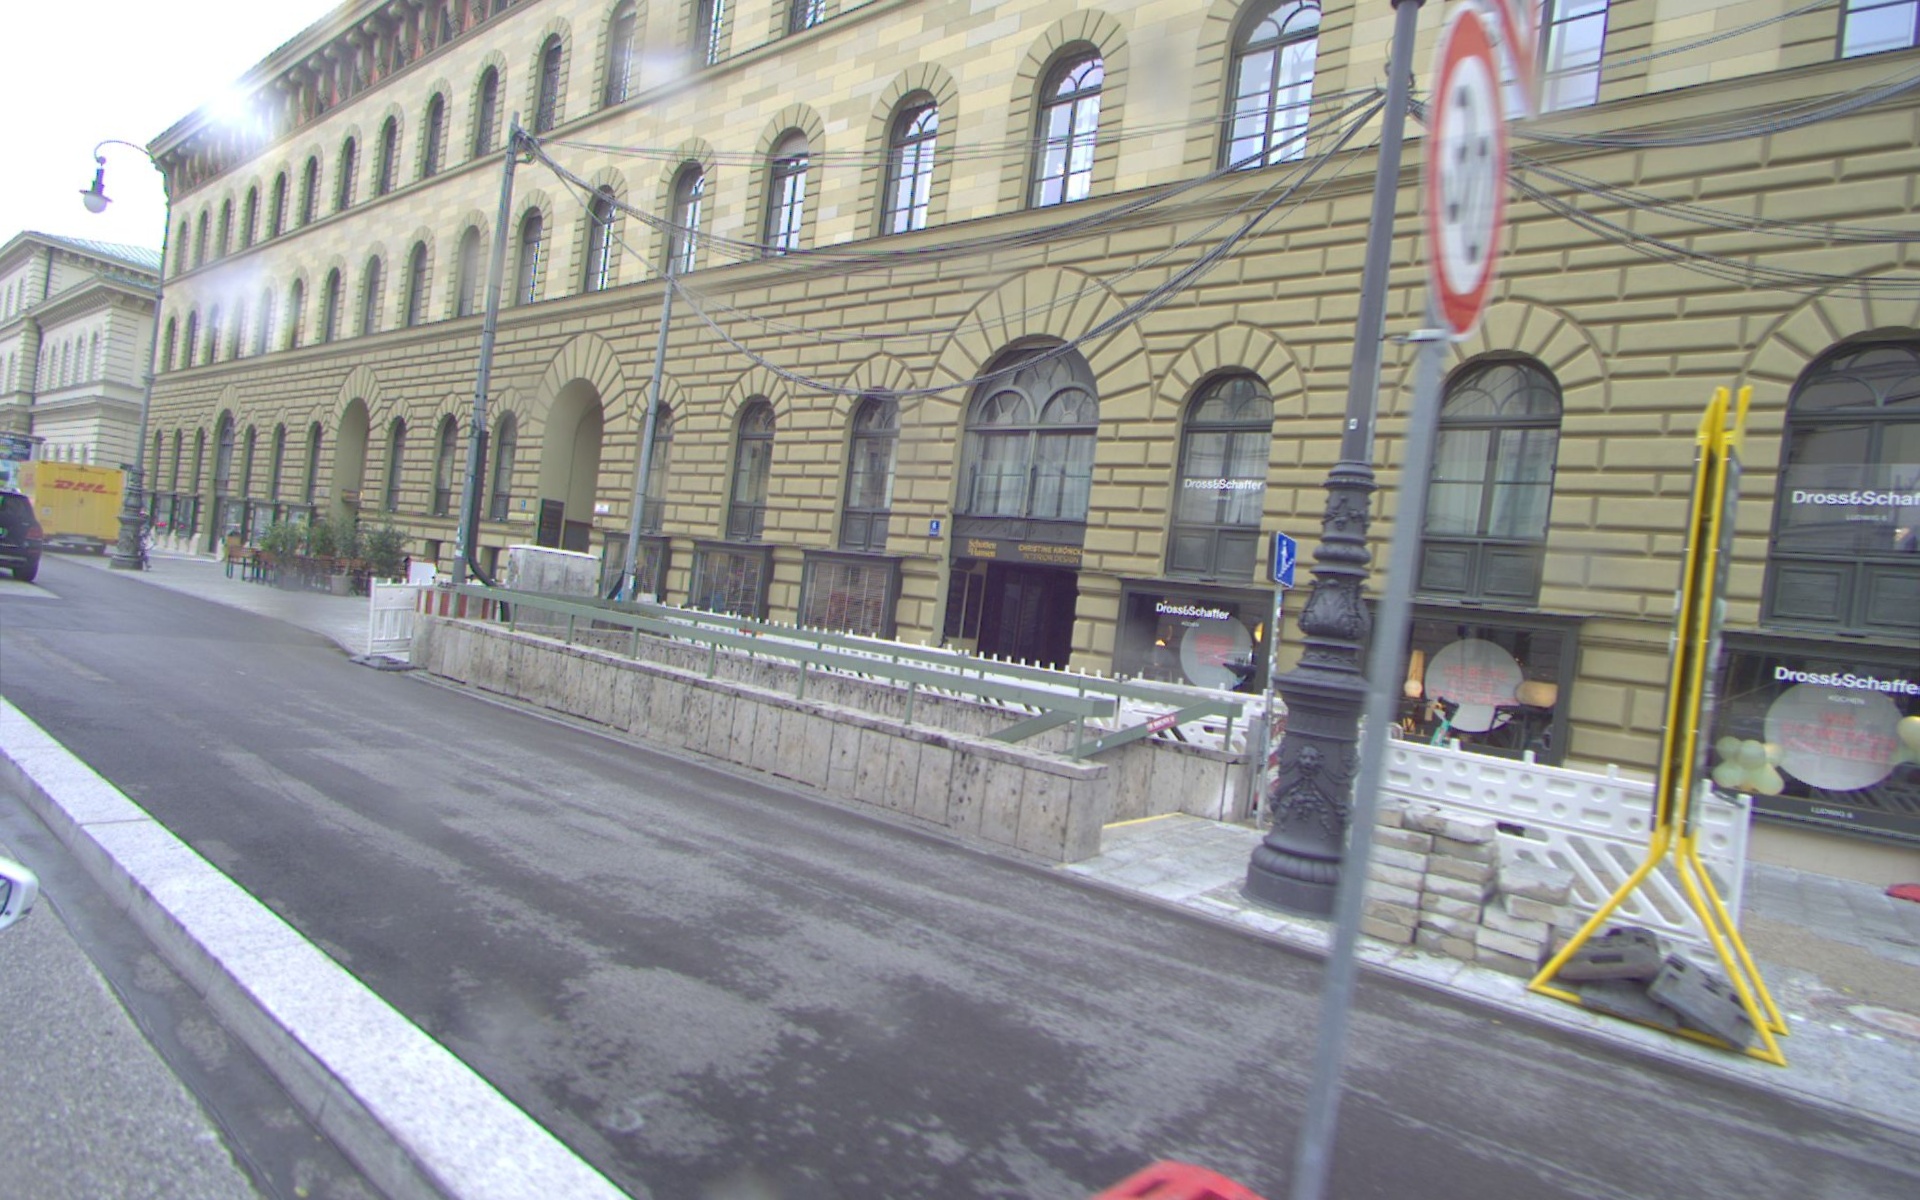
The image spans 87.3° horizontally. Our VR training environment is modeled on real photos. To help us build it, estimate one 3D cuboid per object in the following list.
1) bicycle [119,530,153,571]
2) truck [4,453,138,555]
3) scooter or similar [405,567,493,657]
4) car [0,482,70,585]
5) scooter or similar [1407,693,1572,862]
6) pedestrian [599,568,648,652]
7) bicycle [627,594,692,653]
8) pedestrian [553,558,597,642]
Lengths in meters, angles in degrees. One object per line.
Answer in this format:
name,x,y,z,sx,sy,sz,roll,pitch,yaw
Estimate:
bicycle,-22.428,-1.361,27.373,0.517,1.034,1.630,7,-1,-44
truck,-30.000,-3.171,33.872,5.729,2.797,2.618,5,-2,43
scooter or similar,-7.533,0.187,14.859,0.292,1.266,1.139,6,1,25
car,-18.480,-1.400,18.621,4.158,1.681,2.070,6,-2,36
scooter or similar,4.615,1.515,8.801,1.125,1.265,0.349,5,-1,42
pedestrian,-6.627,0.207,19.808,0.622,1.573,0.498,6,-1,37
bicycle,-6.196,0.472,20.687,1.627,1.034,0.376,7,0,42
pedestrian,-8.240,-0.002,21.530,0.554,1.732,0.670,6,-1,-37
